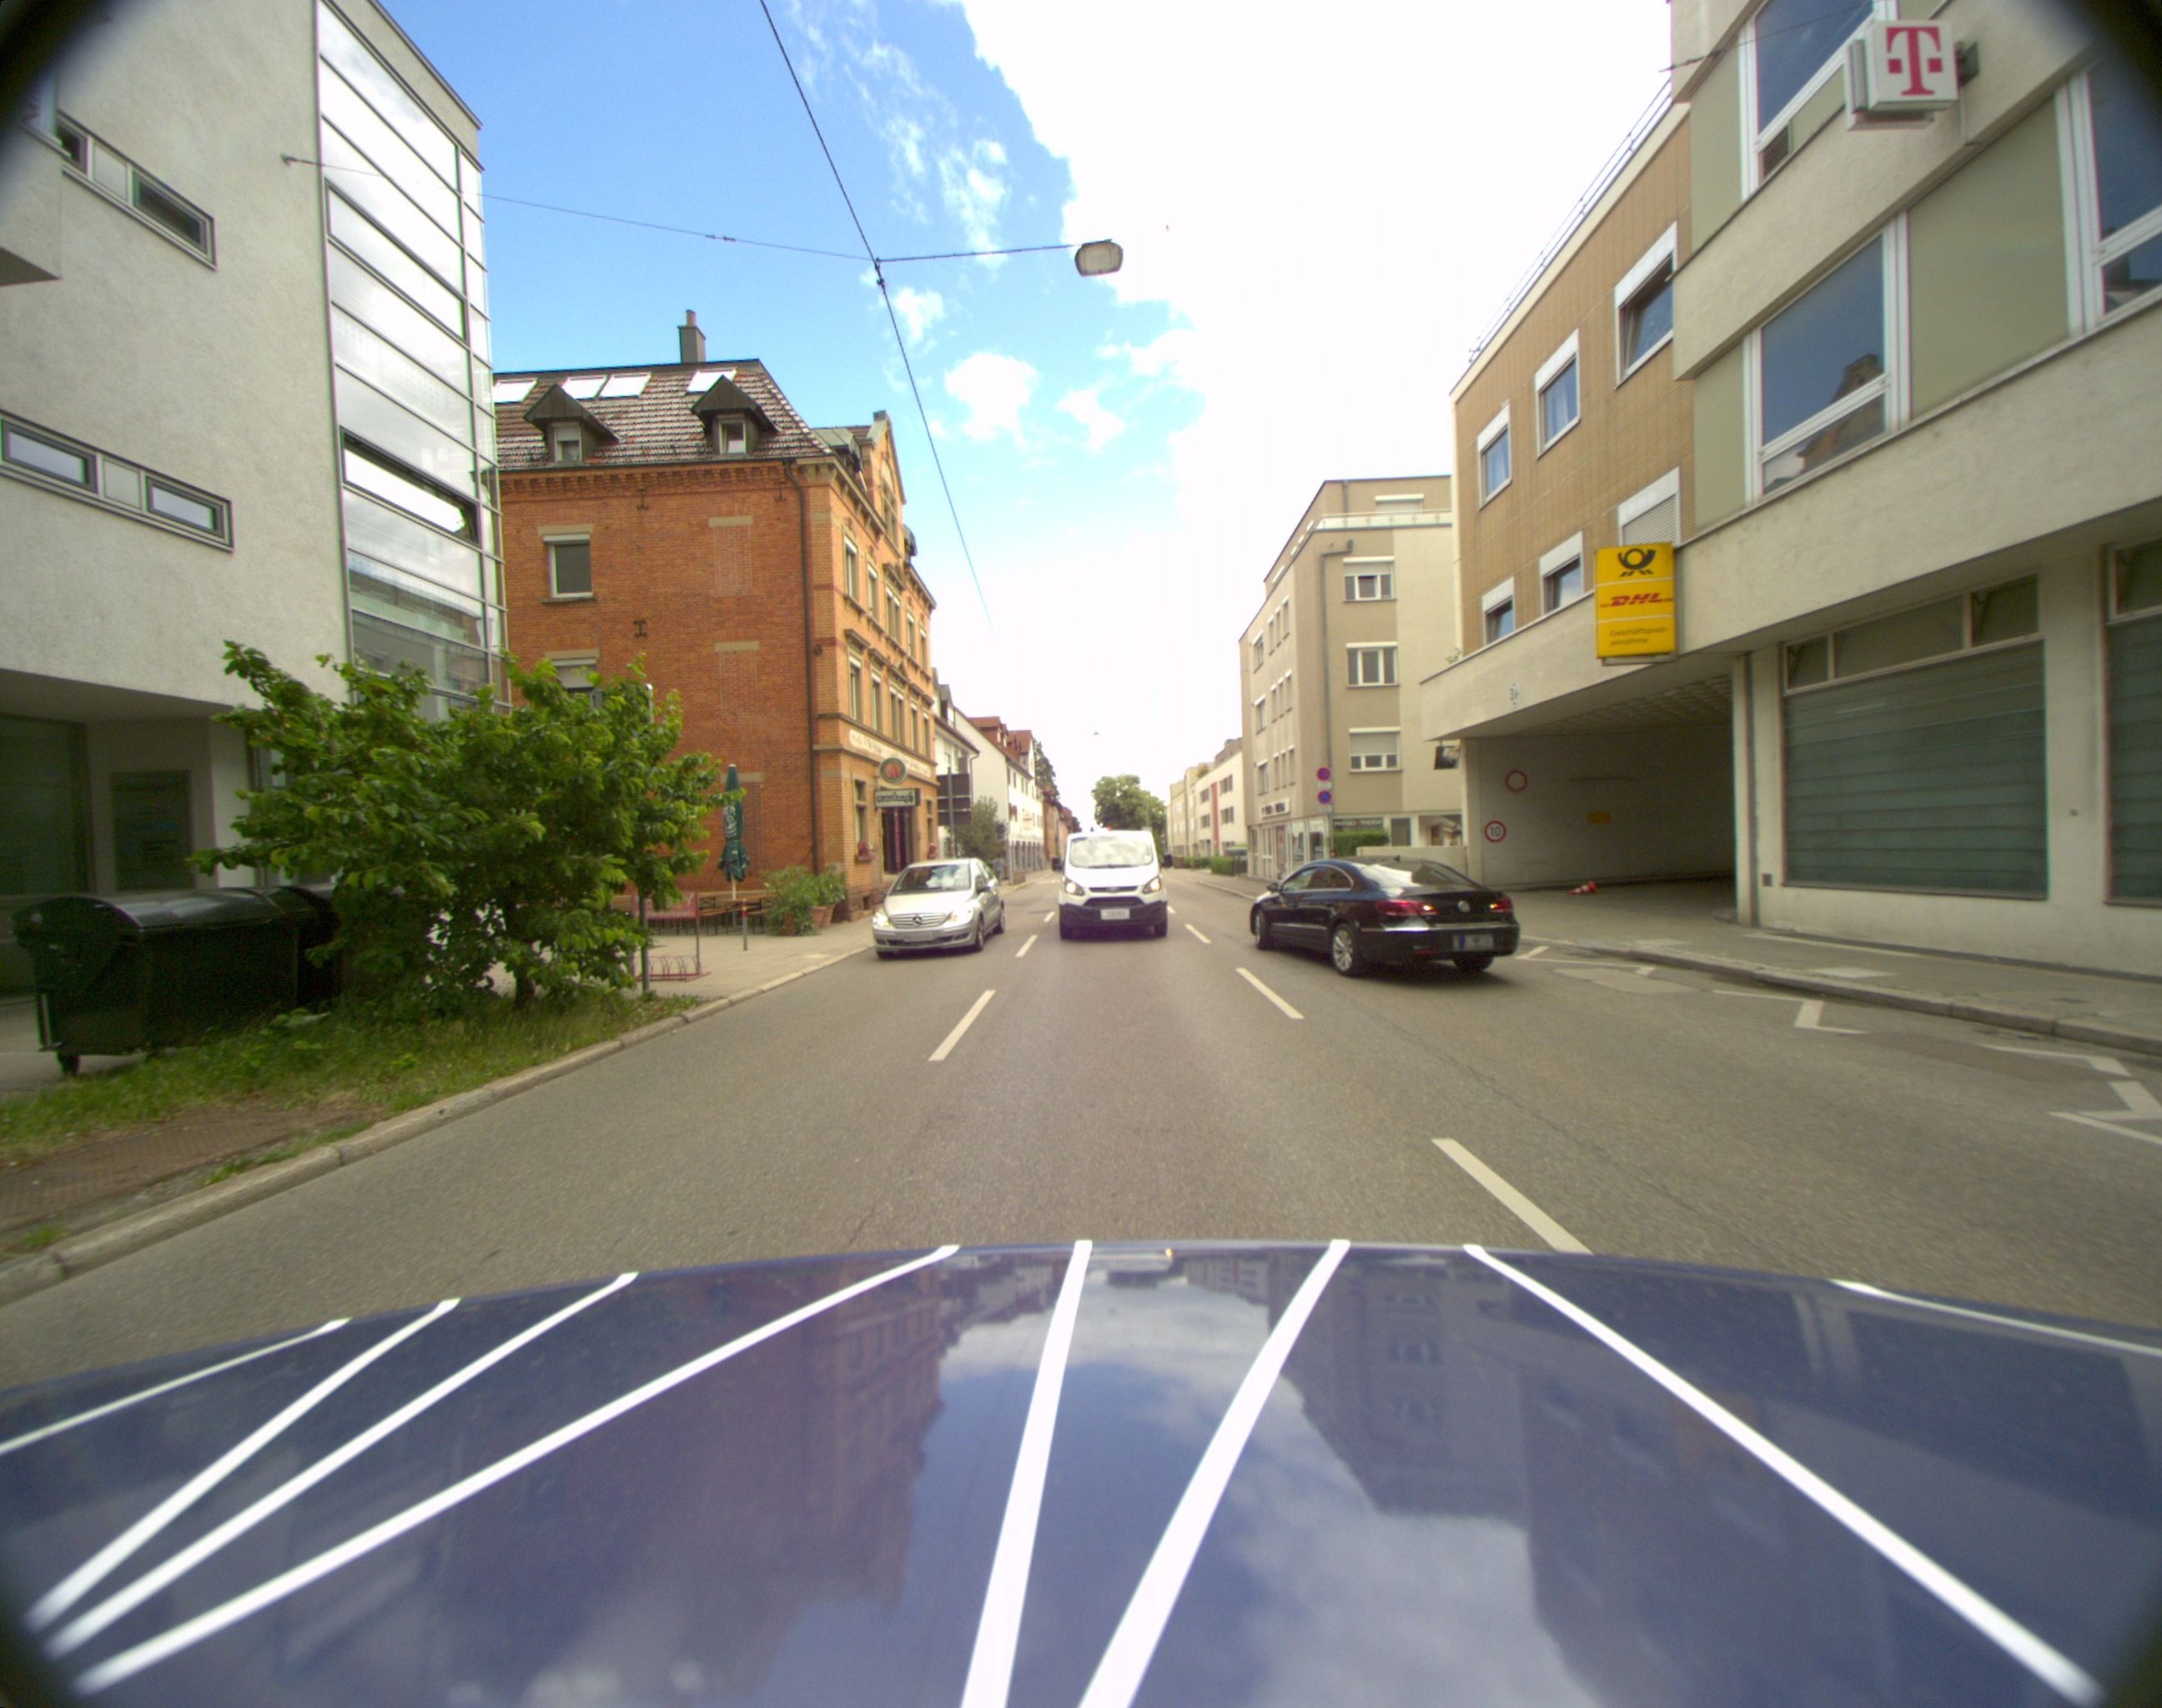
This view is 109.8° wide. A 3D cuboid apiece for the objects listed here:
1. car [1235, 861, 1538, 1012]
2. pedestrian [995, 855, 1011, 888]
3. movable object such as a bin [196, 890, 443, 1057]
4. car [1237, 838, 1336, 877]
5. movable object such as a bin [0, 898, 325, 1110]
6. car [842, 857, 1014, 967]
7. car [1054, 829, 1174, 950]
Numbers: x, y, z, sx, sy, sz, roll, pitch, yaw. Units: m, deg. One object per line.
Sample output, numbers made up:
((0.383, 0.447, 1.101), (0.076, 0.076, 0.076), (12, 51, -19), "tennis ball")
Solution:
((3.613, 0.862, 10.011), (1.657, 1.390, 4.450), (-3, 1, -8), "car")
((-4.163, 0.946, 40.534), (0.690, 1.721, 0.649), (-2, 1, 0), "pedestrian")
((-7.550, 1.130, 7.644), (1.100, 1.457, 1.333), (-1, 1, 0), "movable object such as a bin")
((11.625, 0.200, 43.262), (5.082, 1.986, 1.966), (-2, 1, 4), "car")
((-7.533, 1.142, 6.272), (1.130, 1.457, 1.412), (-1, 1, 0), "movable object such as a bin")
((-2.606, 0.924, 14.200), (1.998, 1.537, 4.571), (-4, 0, 2), "car")
((0.562, 0.583, 15.451), (1.965, 1.986, 5.087), (-2, 0, 0), "car")
